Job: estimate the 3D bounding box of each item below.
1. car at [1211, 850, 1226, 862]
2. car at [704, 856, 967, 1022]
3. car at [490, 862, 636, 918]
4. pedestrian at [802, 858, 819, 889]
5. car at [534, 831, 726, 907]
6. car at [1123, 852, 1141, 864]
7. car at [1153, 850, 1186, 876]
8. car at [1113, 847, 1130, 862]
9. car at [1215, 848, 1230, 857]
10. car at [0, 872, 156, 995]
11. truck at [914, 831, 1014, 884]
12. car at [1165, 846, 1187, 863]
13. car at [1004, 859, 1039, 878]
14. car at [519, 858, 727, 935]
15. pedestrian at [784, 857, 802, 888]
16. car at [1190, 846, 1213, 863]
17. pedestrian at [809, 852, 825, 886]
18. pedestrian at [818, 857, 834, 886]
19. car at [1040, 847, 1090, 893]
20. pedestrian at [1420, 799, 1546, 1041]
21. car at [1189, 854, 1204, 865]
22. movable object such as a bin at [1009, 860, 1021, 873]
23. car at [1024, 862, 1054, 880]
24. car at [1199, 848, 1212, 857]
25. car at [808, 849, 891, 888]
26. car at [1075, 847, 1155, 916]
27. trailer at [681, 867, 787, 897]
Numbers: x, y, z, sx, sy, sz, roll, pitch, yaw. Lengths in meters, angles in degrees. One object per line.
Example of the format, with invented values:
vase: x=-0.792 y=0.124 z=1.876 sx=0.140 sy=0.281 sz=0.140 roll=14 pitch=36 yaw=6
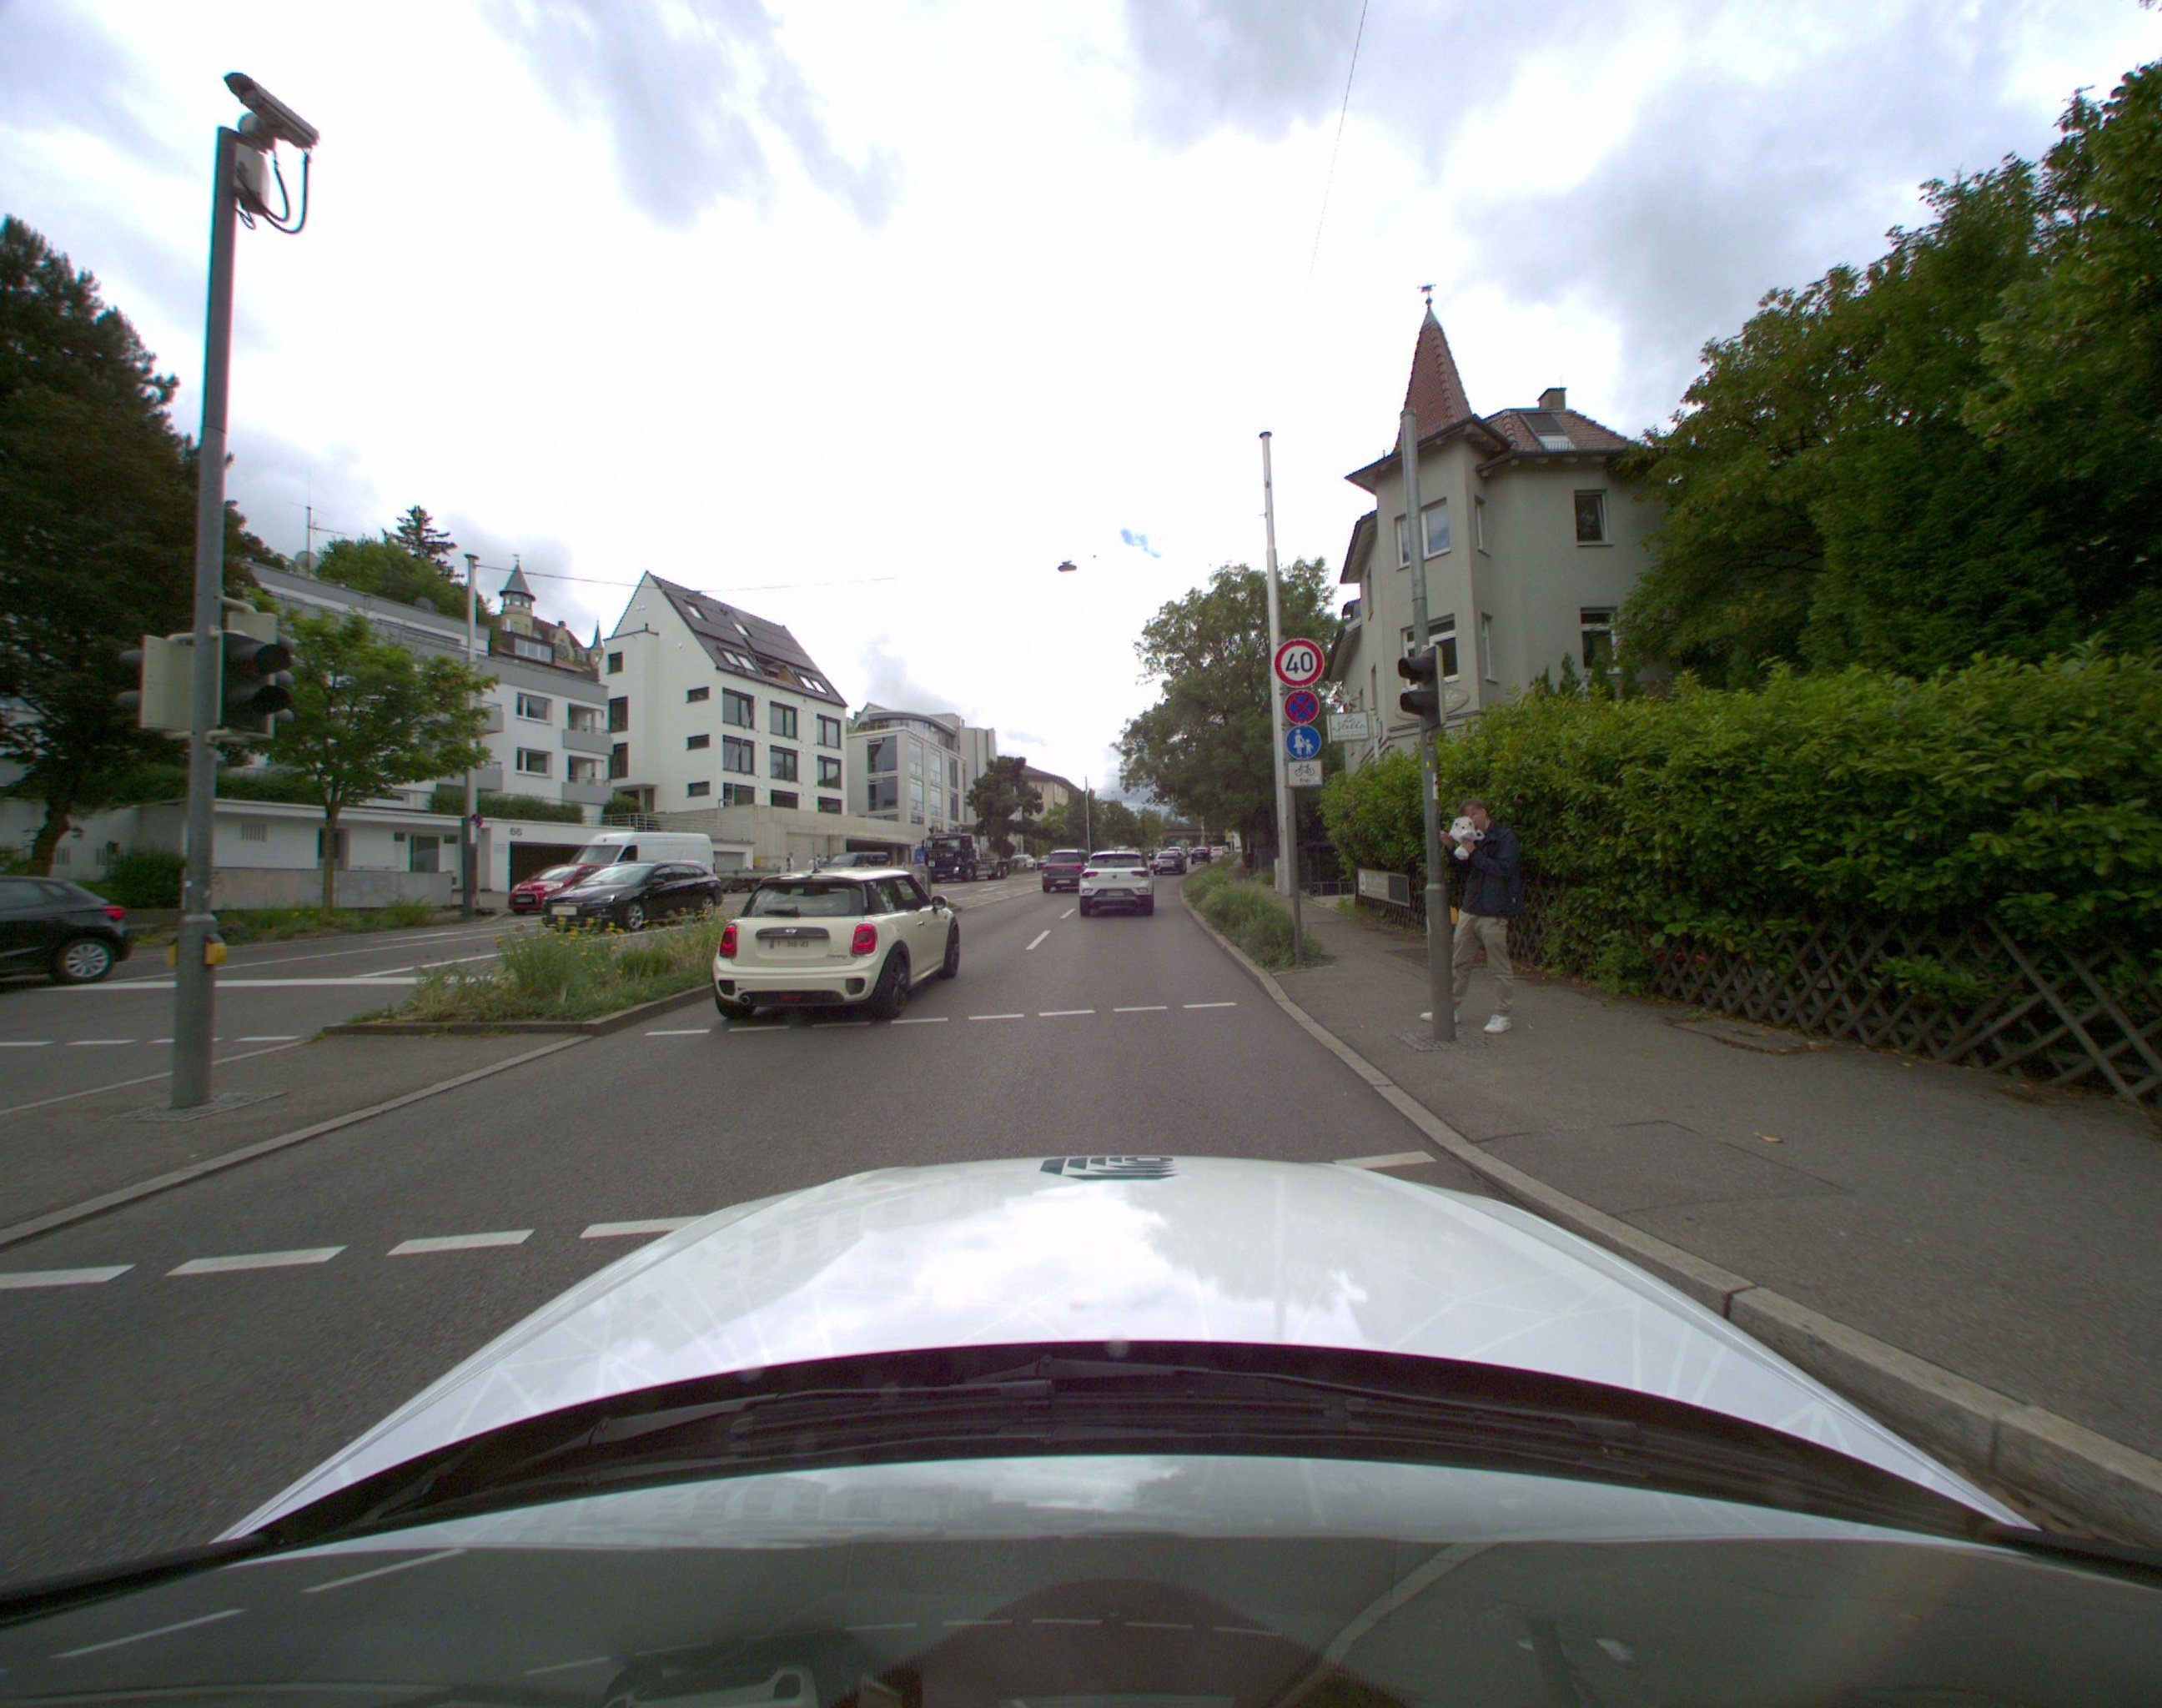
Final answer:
car: x=17.621 y=0.228 z=104.433 sx=1.847 sy=1.500 sz=4.067 roll=-2 pitch=0 yaw=10
car: x=-2.431 y=0.766 z=9.011 sx=1.621 sy=1.393 sz=3.568 roll=-2 pitch=0 yaw=3
car: x=-15.672 y=1.044 z=24.920 sx=1.613 sy=1.465 sz=3.934 roll=-2 pitch=0 yaw=6
pedestrian: x=-14.651 y=1.033 z=44.100 sx=0.679 sy=1.640 sz=0.664 roll=0 pitch=0 yaw=-38
car: x=-17.105 y=0.499 z=31.626 sx=2.217 sy=2.568 sz=7.444 roll=-2 pitch=0 yaw=10
car: x=7.409 y=0.614 z=118.008 sx=2.056 sy=1.656 sz=4.705 roll=-2 pitch=0 yaw=9
car: x=5.607 y=0.551 z=51.172 sx=1.862 sy=1.501 sz=4.566 roll=1 pitch=0 yaw=9
car: x=6.652 y=0.089 z=132.518 sx=2.056 sy=2.305 sz=5.480 roll=-2 pitch=0 yaw=10
car: x=25.408 y=-0.278 z=146.582 sx=1.978 sy=1.500 sz=4.057 roll=-2 pitch=0 yaw=2
car: x=-13.548 y=0.953 z=9.179 sx=1.618 sy=1.393 sz=3.863 roll=1 pitch=0 yaw=6
truck: x=-7.004 y=0.183 z=50.580 sx=2.940 sy=2.971 sz=9.012 roll=-1 pitch=0 yaw=14
car: x=9.766 y=0.011 z=83.347 sx=1.846 sy=1.652 sz=4.650 roll=-2 pitch=0 yaw=11
car: x=-5.213 y=1.276 z=72.104 sx=1.758 sy=1.499 sz=4.322 roll=-2 pitch=0 yaw=15
car: x=-9.996 y=0.849 z=18.282 sx=1.683 sy=1.501 sz=4.563 roll=-1 pitch=0 yaw=7
pedestrian: x=-15.568 y=1.006 z=44.053 sx=0.620 sy=1.640 sz=0.675 roll=0 pitch=0 yaw=21
car: x=11.384 y=0.085 z=76.706 sx=1.861 sy=1.501 sz=4.569 roll=1 pitch=0 yaw=12
pedestrian: x=-14.651 y=0.824 z=45.228 sx=0.679 sy=1.840 sz=0.664 roll=0 pitch=0 yaw=-38
pedestrian: x=-14.482 y=0.983 z=46.321 sx=0.679 sy=1.640 sz=0.664 roll=0 pitch=0 yaw=-38
car: x=-0.576 y=0.585 z=32.794 sx=1.807 sy=1.652 sz=4.636 roll=-2 pitch=0 yaw=1
pedestrian: x=3.185 y=0.503 z=6.502 sx=0.690 sy=1.834 sz=0.620 roll=0 pitch=-1 yaw=2
car: x=16.515 y=0.757 z=116.235 sx=1.847 sy=1.500 sz=4.066 roll=-2 pitch=0 yaw=9
movable object such as a bin: x=-5.211 y=1.010 z=64.406 sx=0.639 sy=0.990 sz=0.663 roll=-1 pitch=0 yaw=20
car: x=-4.147 y=1.667 z=80.656 sx=1.758 sy=1.634 sz=3.931 roll=-2 pitch=0 yaw=15
car: x=22.741 y=-0.223 z=149.067 sx=1.851 sy=1.500 sz=4.057 roll=-2 pitch=0 yaw=1
car: x=-12.815 y=0.769 z=45.428 sx=1.967 sy=1.967 sz=5.240 roll=-2 pitch=0 yaw=15
car: x=0.883 y=0.638 z=20.740 sx=1.804 sy=1.539 sz=3.692 roll=-2 pitch=0 yaw=3
trailer: x=-15.866 y=1.255 z=37.552 sx=2.232 sy=1.112 sz=4.636 roll=-2 pitch=0 yaw=10
